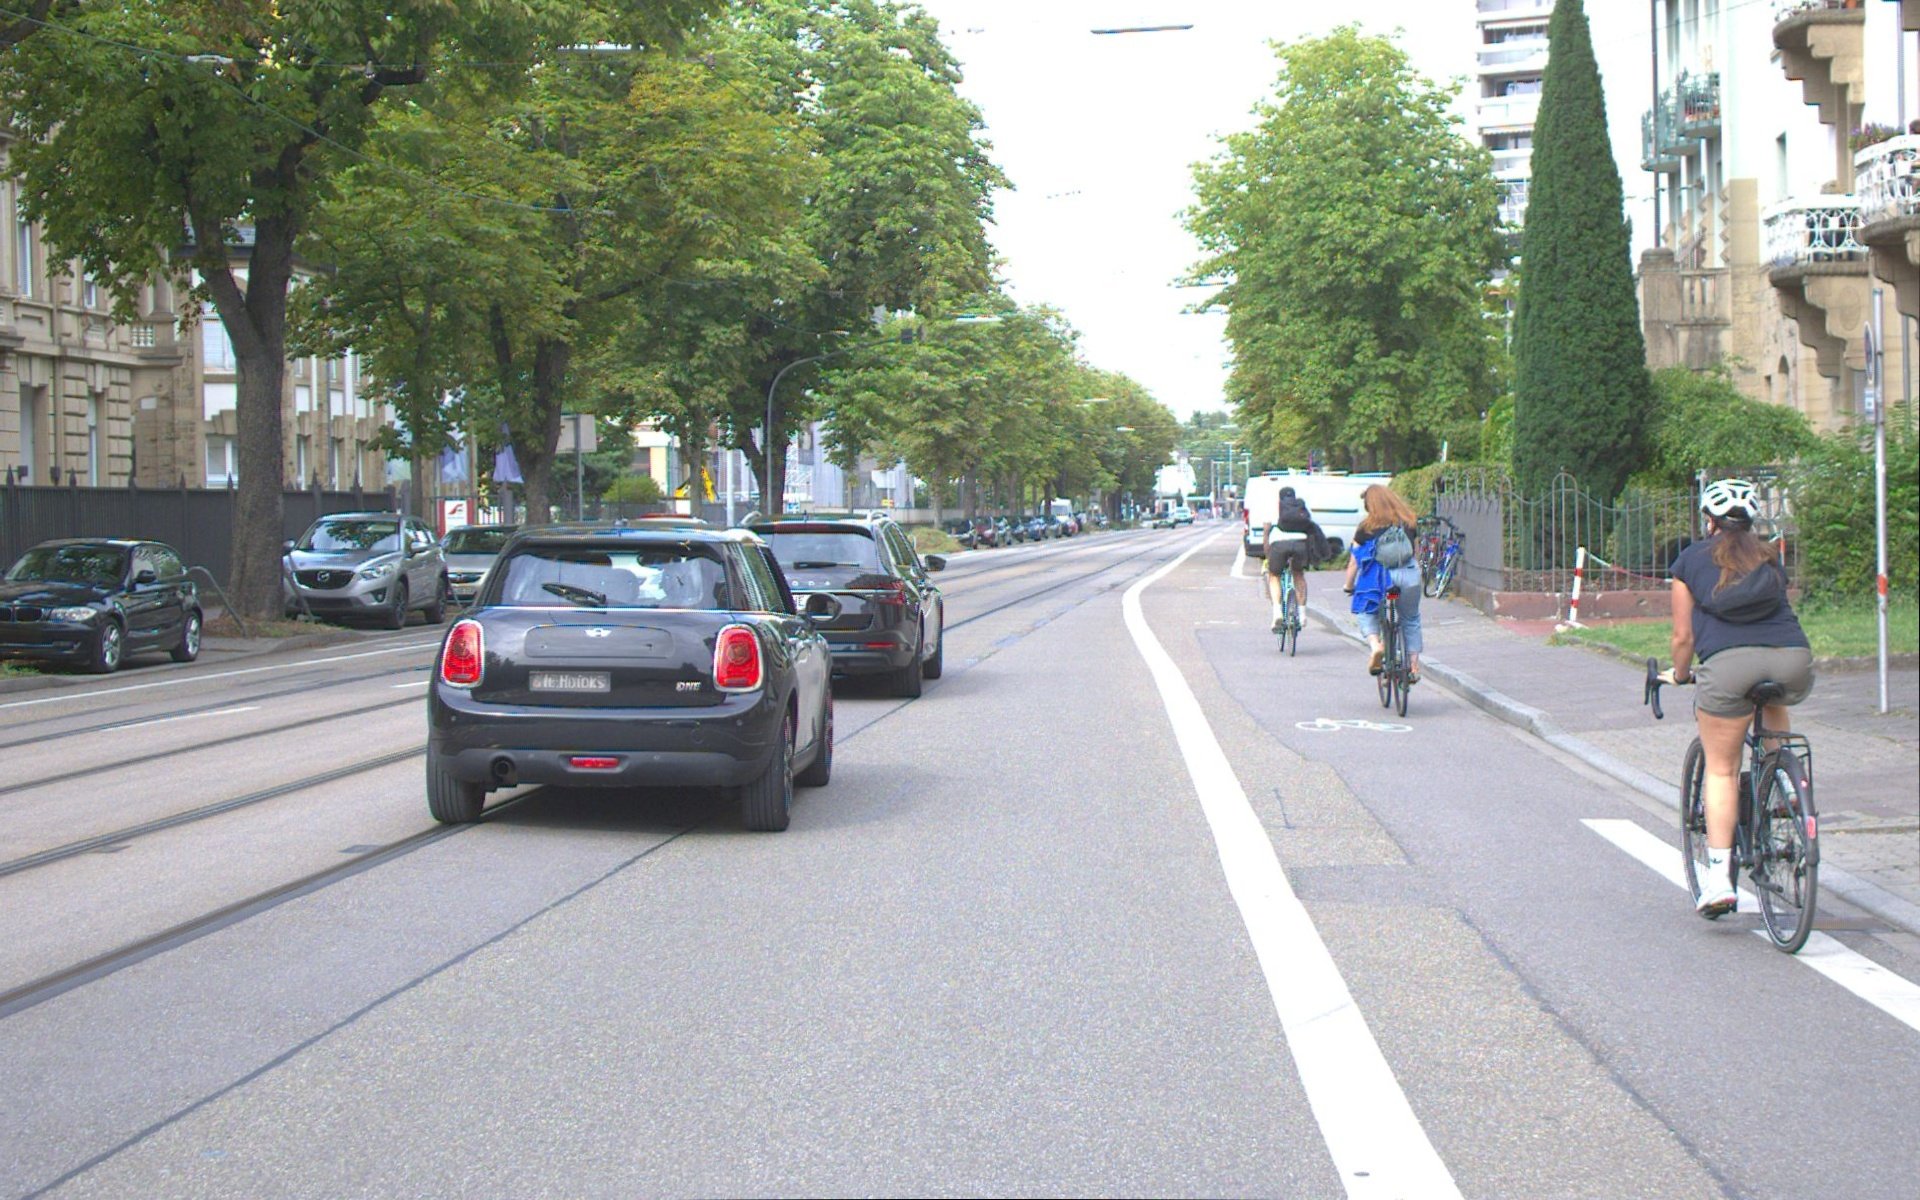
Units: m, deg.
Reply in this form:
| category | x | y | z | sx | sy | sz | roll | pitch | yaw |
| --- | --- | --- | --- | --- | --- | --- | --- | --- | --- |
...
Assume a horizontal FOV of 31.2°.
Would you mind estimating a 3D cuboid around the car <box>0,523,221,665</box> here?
| category | x | y | z | sx | sy | sz | roll | pitch | yaw |
| --- | --- | --- | --- | --- | --- | --- | --- | --- | --- |
| car | -9.793 | -0.113 | 38.408 | 1.720 | 1.419 | 4.165 | 2 | 2 | 7 |

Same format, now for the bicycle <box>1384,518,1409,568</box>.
| category | x | y | z | sx | sy | sz | roll | pitch | yaw |
| --- | --- | --- | --- | --- | --- | --- | --- | --- | --- |
| bicycle | 8.160 | -1.064 | 64.255 | 0.386 | 0.904 | 1.664 | -2 | 1 | 9 |

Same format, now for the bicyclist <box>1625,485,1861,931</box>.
| category | x | y | z | sx | sy | sz | roll | pitch | yaw |
| --- | --- | --- | --- | --- | --- | --- | --- | --- | --- |
| bicyclist | 2.852 | 0.362 | 12.610 | 0.638 | 1.564 | 1.110 | 0 | 2 | 3 |

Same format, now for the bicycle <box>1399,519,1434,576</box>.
| category | x | y | z | sx | sy | sz | roll | pitch | yaw |
| --- | --- | --- | --- | --- | --- | --- | --- | --- | --- |
| bicycle | 7.452 | -0.856 | 56.160 | 0.486 | 0.904 | 1.665 | -2 | 1 | 5 |

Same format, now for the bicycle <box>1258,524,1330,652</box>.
| category | x | y | z | sx | sy | sz | roll | pitch | yaw |
| --- | --- | --- | --- | --- | --- | --- | --- | --- | --- |
| bicycle | 3.387 | -0.139 | 35.001 | 0.657 | 1.244 | 2.125 | 0 | 2 | 4 |

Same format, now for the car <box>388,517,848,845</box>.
| category | x | y | z | sx | sy | sz | roll | pitch | yaw |
| --- | --- | --- | --- | --- | --- | --- | --- | --- | --- |
| car | -1.606 | 0.317 | 17.451 | 1.793 | 1.418 | 4.000 | 1 | 2 | 2 |

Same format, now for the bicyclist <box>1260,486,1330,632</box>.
| category | x | y | z | sx | sy | sz | roll | pitch | yaw |
| --- | --- | --- | --- | --- | --- | --- | --- | --- | --- |
| bicyclist | 3.401 | -0.429 | 34.989 | 0.657 | 1.458 | 1.178 | 0 | 2 | 4 |

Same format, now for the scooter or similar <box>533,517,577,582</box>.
| category | x | y | z | sx | sy | sz | roll | pitch | yaw |
| --- | --- | --- | --- | --- | --- | --- | --- | --- | --- |
| scooter or similar | -7.735 | -0.966 | 65.652 | 0.561 | 1.218 | 1.324 | -1 | 2 | -18 |

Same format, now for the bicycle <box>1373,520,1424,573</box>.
| category | x | y | z | sx | sy | sz | roll | pitch | yaw |
| --- | --- | --- | --- | --- | --- | --- | --- | --- | --- |
| bicycle | 7.627 | -0.928 | 59.857 | 0.485 | 0.904 | 1.665 | -2 | 1 | -6 |

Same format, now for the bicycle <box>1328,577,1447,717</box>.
| category | x | y | z | sx | sy | sz | roll | pitch | yaw |
| --- | --- | --- | --- | --- | --- | --- | --- | --- | --- |
| bicycle | 3.212 | 0.335 | 25.970 | 0.688 | 0.959 | 2.036 | 1 | 2 | 2 |

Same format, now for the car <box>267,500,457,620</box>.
| category | x | y | z | sx | sy | sz | roll | pitch | yaw |
| --- | --- | --- | --- | --- | --- | --- | --- | --- | --- |
| car | -8.712 | -0.623 | 50.441 | 1.710 | 1.668 | 4.357 | 0 | 2 | 5 |

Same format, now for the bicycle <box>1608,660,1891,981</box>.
| category | x | y | z | sx | sy | sz | roll | pitch | yaw |
| --- | --- | --- | --- | --- | --- | --- | --- | --- | --- |
| bicycle | 2.851 | 0.759 | 12.605 | 0.638 | 0.977 | 2.071 | 0 | 2 | 3 |

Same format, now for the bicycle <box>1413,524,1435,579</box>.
| category | x | y | z | sx | sy | sz | roll | pitch | yaw |
| --- | --- | --- | --- | --- | --- | --- | --- | --- | --- |
| bicycle | 7.336 | -0.773 | 54.353 | 0.278 | 0.849 | 1.198 | -2 | 1 | 5 |

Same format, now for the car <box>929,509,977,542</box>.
| category | x | y | z | sx | sy | sz | roll | pitch | yaw |
| --- | --- | --- | --- | --- | --- | --- | --- | --- | --- |
| car | -0.288 | -3.315 | 152.125 | 1.803 | 1.369 | 4.031 | -2 | 1 | 4 |

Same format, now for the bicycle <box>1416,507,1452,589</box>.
| category | x | y | z | sx | sy | sz | roll | pitch | yaw |
| --- | --- | --- | --- | --- | --- | --- | --- | --- | --- |
| bicycle | 6.908 | -0.769 | 50.157 | 0.391 | 1.138 | 1.920 | -2 | 2 | 5 |

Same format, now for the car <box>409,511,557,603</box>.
| category | x | y | z | sx | sy | sz | roll | pitch | yaw |
| --- | --- | --- | --- | --- | --- | --- | --- | --- | --- |
| car | -7.975 | -0.750 | 57.783 | 1.601 | 1.463 | 4.079 | 0 | 2 | 5 |

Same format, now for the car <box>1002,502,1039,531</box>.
| category | x | y | z | sx | sy | sz | roll | pitch | yaw |
| --- | --- | --- | --- | --- | --- | --- | --- | --- | --- |
| car | 3.404 | -4.664 | 191.872 | 1.803 | 1.578 | 4.031 | -2 | 1 | 4 |

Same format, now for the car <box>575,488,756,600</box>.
| category | x | y | z | sx | sy | sz | roll | pitch | yaw |
| --- | --- | --- | --- | --- | --- | --- | --- | --- | --- |
| car | -4.050 | -0.809 | 47.915 | 1.571 | 1.411 | 3.999 | -2 | 2 | 9 |

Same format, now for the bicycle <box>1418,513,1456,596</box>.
| category | x | y | z | sx | sy | sz | roll | pitch | yaw |
| --- | --- | --- | --- | --- | --- | --- | --- | --- | --- |
| bicycle | 6.578 | -0.638 | 47.464 | 0.391 | 1.099 | 1.759 | -2 | 2 | 5 |

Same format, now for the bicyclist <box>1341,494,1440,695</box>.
| category | x | y | z | sx | sy | sz | roll | pitch | yaw |
| --- | --- | --- | --- | --- | --- | --- | --- | --- | --- |
| bicyclist | 3.207 | -0.051 | 25.677 | 0.647 | 1.465 | 0.801 | 0 | 3 | 1 |

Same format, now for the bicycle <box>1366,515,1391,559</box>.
| category | x | y | z | sx | sy | sz | roll | pitch | yaw |
| --- | --- | --- | --- | --- | --- | --- | --- | --- | --- |
| bicycle | 8.815 | -1.322 | 72.484 | 0.386 | 0.904 | 1.842 | -2 | 1 | 3 |

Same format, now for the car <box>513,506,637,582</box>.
| category | x | y | z | sx | sy | sz | roll | pitch | yaw |
| --- | --- | --- | --- | --- | --- | --- | --- | --- | --- |
| car | -7.648 | -1.136 | 68.582 | 1.721 | 1.419 | 4.023 | 2 | 2 | 4 |

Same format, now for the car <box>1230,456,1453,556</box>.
| category | x | y | z | sx | sy | sz | roll | pitch | yaw |
| --- | --- | --- | --- | --- | --- | --- | --- | --- | --- |
| car | 8.996 | -2.197 | 80.857 | 4.944 | 2.282 | 2.384 | -1 | 2 | -38 |

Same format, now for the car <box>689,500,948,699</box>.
| category | x | y | z | sx | sy | sz | roll | pitch | yaw |
| --- | --- | --- | --- | --- | --- | --- | --- | --- | --- |
| car | -1.077 | -0.064 | 27.966 | 1.793 | 1.465 | 4.000 | 1 | 2 | 2 |

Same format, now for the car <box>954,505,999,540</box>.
| category | x | y | z | sx | sy | sz | roll | pitch | yaw |
| --- | --- | --- | --- | --- | --- | --- | --- | --- | --- |
| car | 0.776 | -3.664 | 162.457 | 1.803 | 1.578 | 4.031 | -2 | 1 | 4 |

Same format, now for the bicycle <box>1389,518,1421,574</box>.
| category | x | y | z | sx | sy | sz | roll | pitch | yaw |
| --- | --- | --- | --- | --- | --- | --- | --- | --- | --- |
| bicycle | 7.507 | -0.915 | 57.947 | 0.486 | 0.904 | 1.664 | -2 | 1 | 8 |
